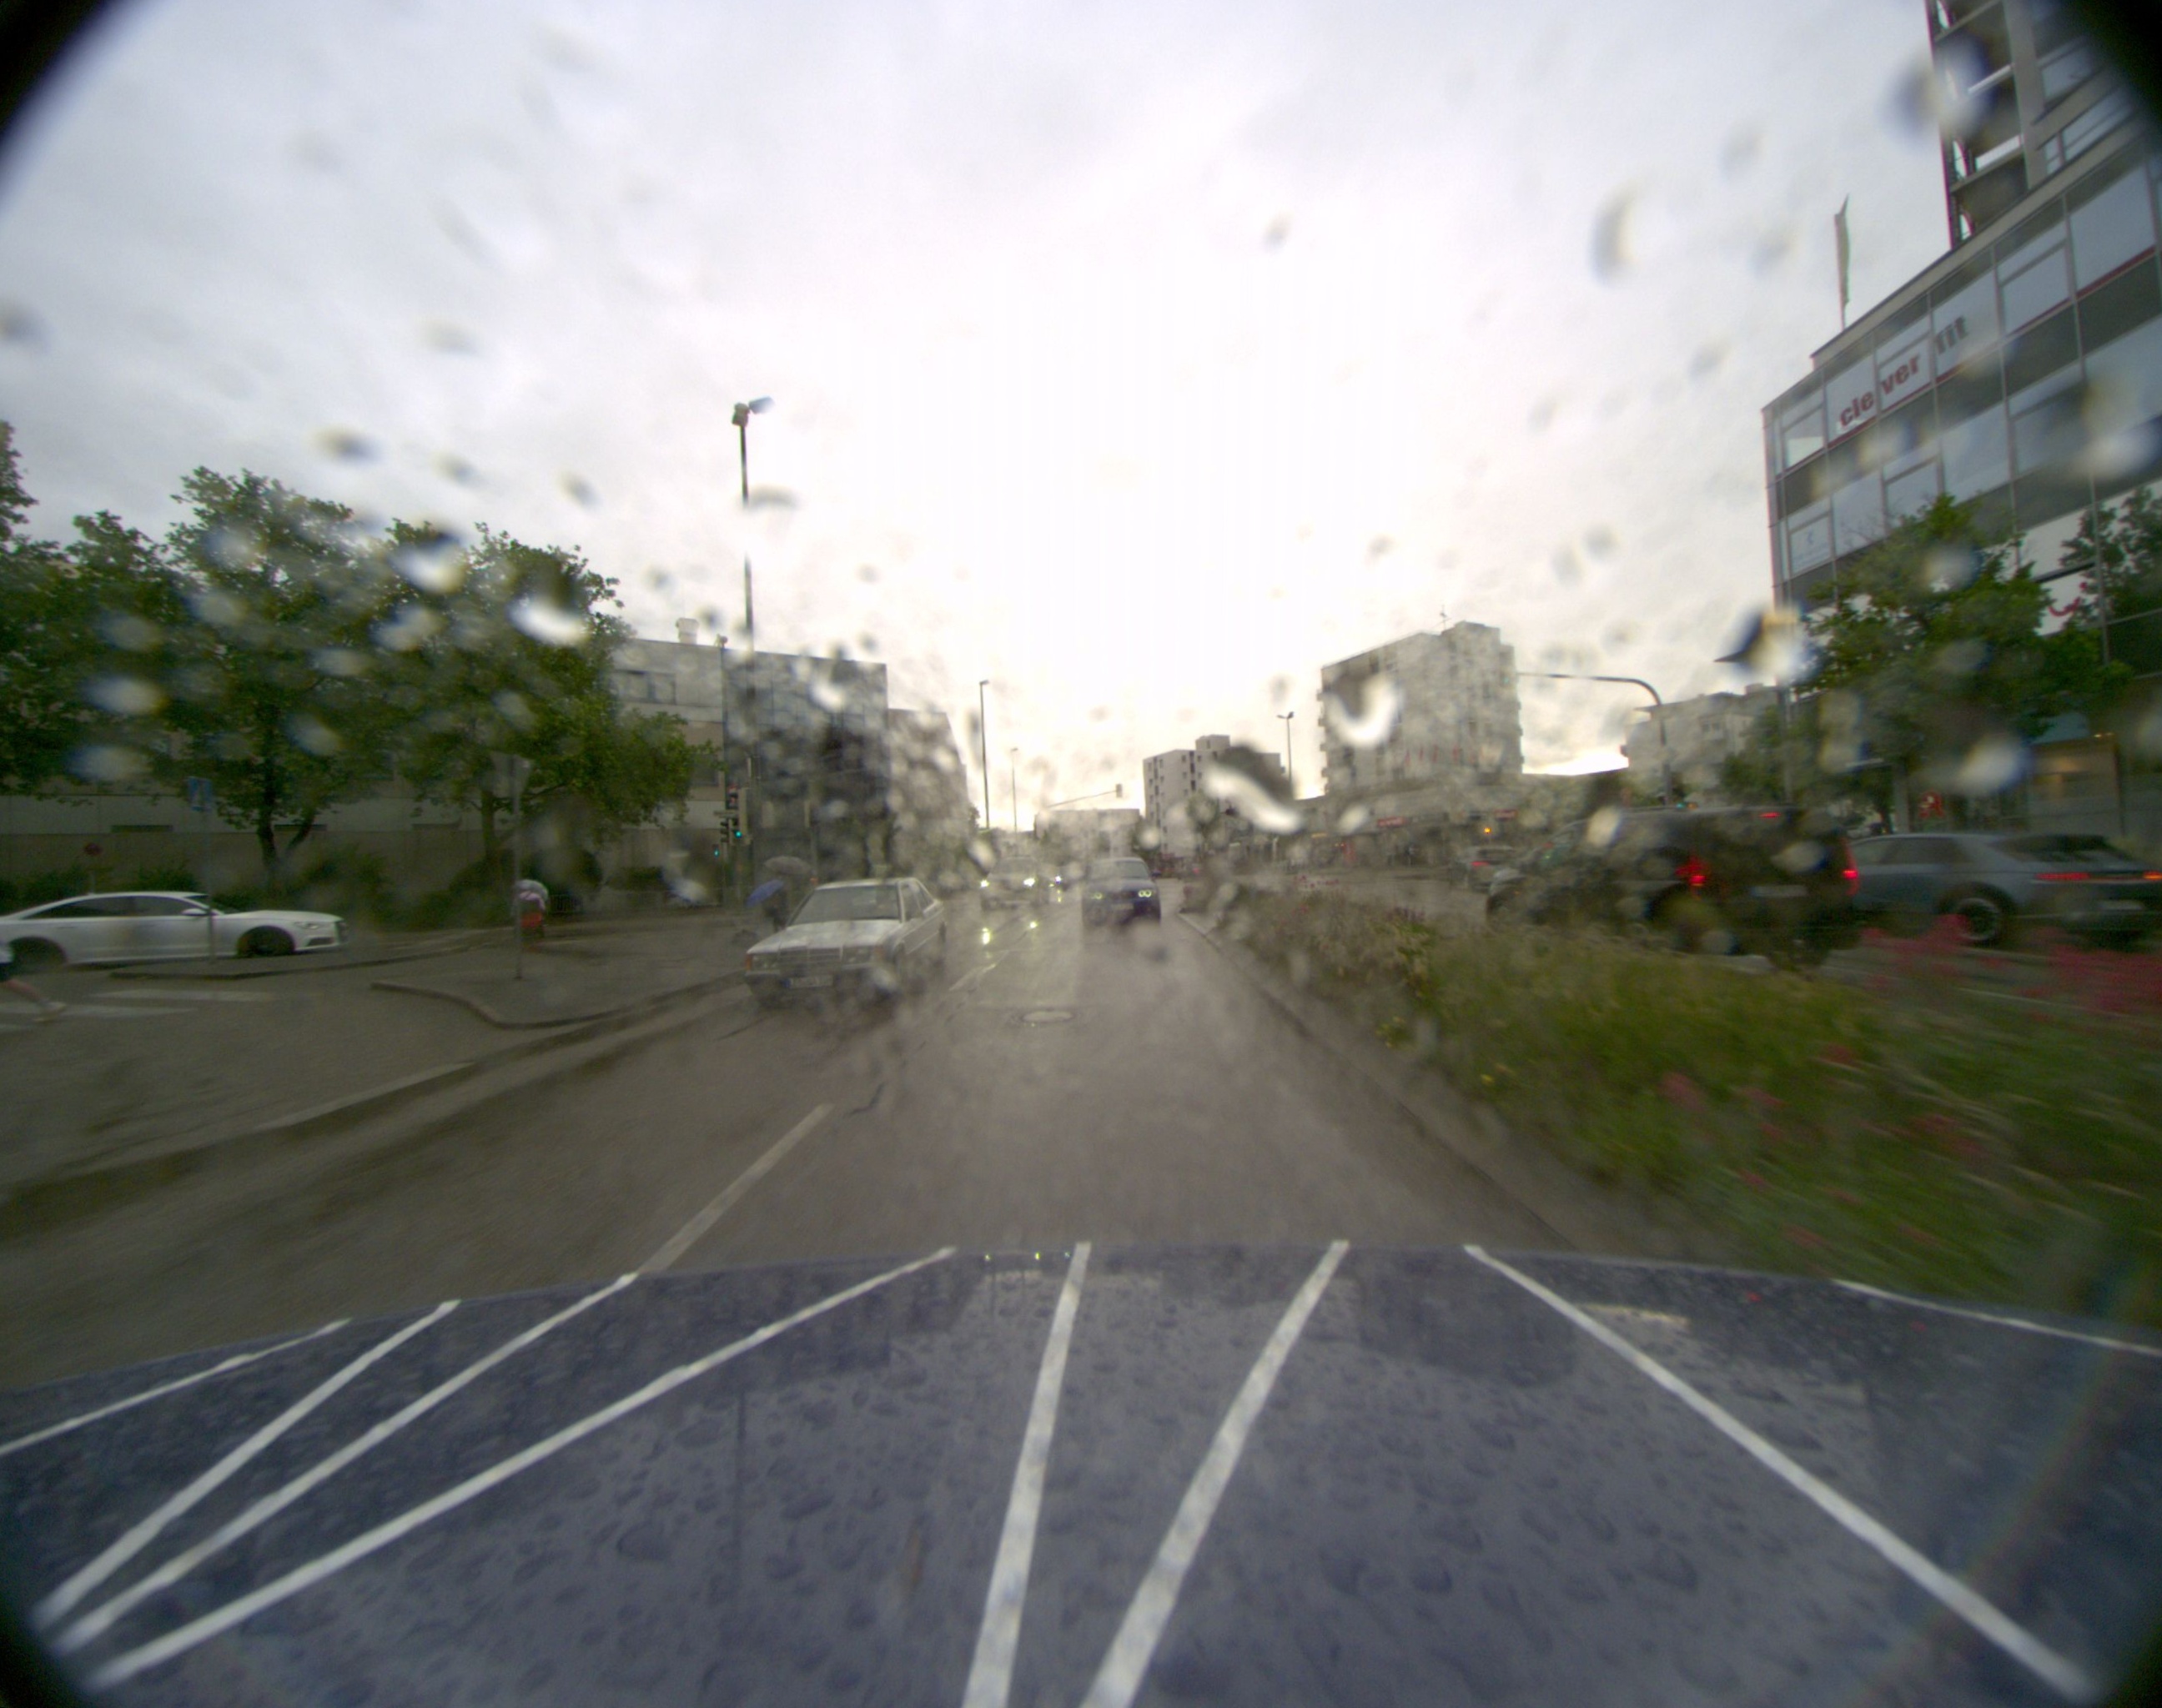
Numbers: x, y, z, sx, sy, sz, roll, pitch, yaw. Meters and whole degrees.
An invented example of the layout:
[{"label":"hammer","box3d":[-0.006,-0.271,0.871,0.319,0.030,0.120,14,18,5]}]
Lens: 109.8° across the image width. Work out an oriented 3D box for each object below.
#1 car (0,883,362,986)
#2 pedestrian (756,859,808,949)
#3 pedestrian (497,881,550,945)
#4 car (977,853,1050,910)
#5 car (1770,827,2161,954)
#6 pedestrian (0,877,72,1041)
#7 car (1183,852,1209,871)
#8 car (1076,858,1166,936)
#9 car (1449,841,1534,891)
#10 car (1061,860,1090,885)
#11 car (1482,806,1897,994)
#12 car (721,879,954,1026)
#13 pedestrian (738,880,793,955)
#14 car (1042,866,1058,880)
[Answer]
[{"label":"car","box3d":[-17.695,1.474,14.849,4.938,1.505,1.847,-3,1,-29]},{"label":"pedestrian","box3d":[-6.154,1.009,15.687,0.687,1.793,0.797,1,2,8]},{"label":"pedestrian","box3d":[-13.211,1.369,18.014,0.924,1.392,1.210,-3,1,-37]},{"label":"car","box3d":[-2.195,0.860,25.942,2.058,1.638,4.479,-2,1,0]},{"label":"car","box3d":[13.049,0.424,11.391,1.920,1.539,4.002,-1,1,3]},{"label":"pedestrian","box3d":[-12.523,1.201,8.558,0.714,1.819,1.265,-1,1,33]},{"label":"car","box3d":[10.512,0.667,69.890,1.750,1.533,4.421,-2,1,1]},{"label":"car","box3d":[0.804,0.851,16.785,1.688,1.373,3.793,-4,1,1]},{"label":"car","box3d":[14.370,0.375,26.818,1.682,1.617,4.203,-1,0,15]},{"label":"car","box3d":[-0.348,1.194,51.499,1.854,1.491,3.905,-2,1,1]},{"label":"car","box3d":[6.854,0.416,9.243,1.867,1.780,3.999,0,1,1]},{"label":"car","box3d":[-2.885,1.104,9.964,1.662,1.300,3.994,-2,1,1]},{"label":"pedestrian","box3d":[-6.165,1.227,14.857,0.687,1.372,0.772,1,1,8]},{"label":"car","box3d":[-3.234,1.971,79.253,1.394,1.316,2.861,-2,1,1]}]
